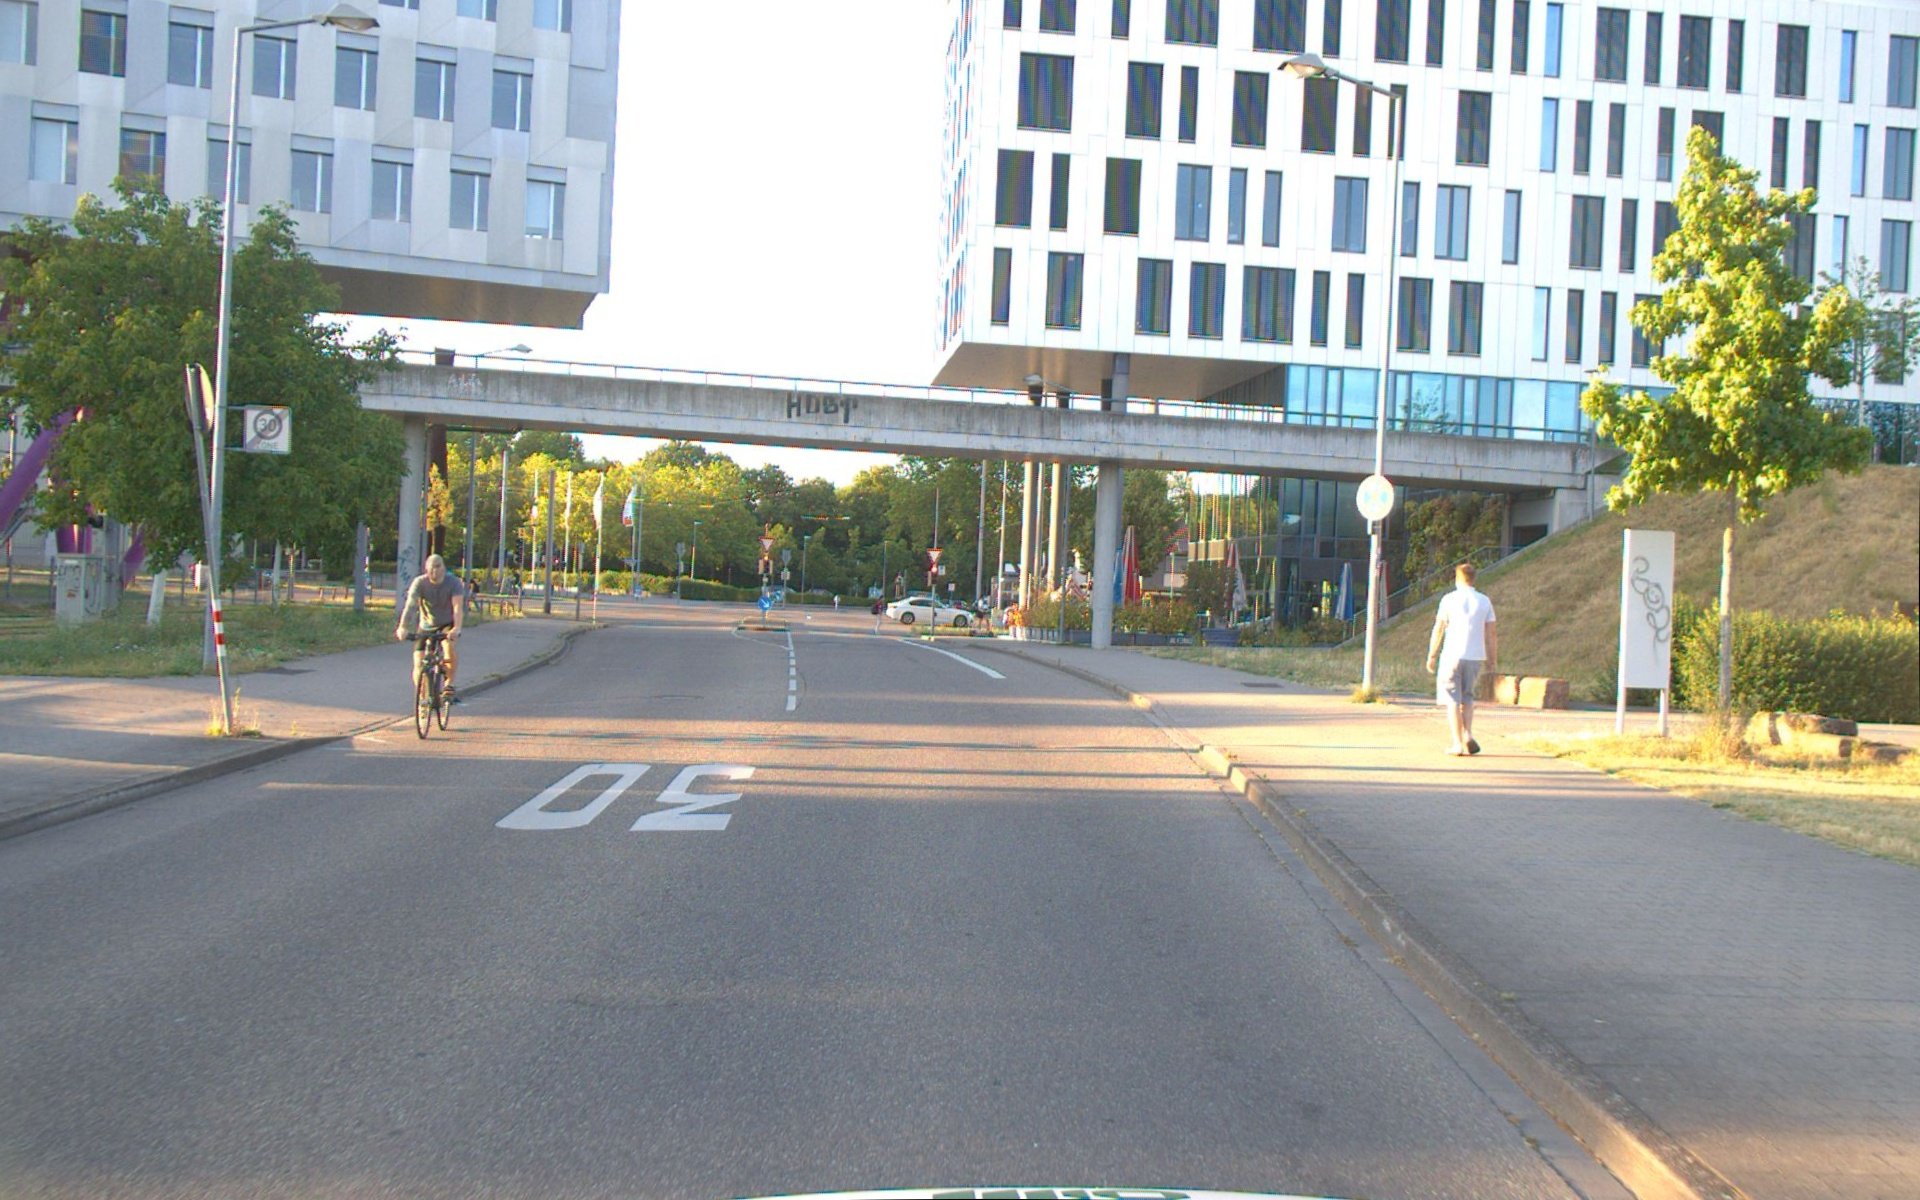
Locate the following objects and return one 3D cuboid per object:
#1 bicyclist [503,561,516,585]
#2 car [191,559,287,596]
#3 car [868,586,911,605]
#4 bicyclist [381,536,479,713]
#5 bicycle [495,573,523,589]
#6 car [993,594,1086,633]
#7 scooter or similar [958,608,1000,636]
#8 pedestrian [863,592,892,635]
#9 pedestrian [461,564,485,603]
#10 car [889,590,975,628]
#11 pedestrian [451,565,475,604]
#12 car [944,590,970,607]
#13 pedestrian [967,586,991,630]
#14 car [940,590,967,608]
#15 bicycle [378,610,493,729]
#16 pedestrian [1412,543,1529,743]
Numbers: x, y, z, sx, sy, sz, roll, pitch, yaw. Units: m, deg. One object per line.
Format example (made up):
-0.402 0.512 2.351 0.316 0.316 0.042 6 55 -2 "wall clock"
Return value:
-33.643 -1.998 123.528 0.749 1.753 0.547 2 1 -31 "bicyclist"
-39.666 -1.250 91.024 4.382 1.848 1.942 2 1 -7 "car"
-7.778 -0.540 183.733 4.588 1.901 2.013 3 1 1 "car"
-5.309 0.227 16.609 0.602 1.691 1.036 2 1 -1 "bicyclist"
-33.663 -1.428 123.526 1.942 1.148 0.554 2 1 -31 "bicycle"
4.266 0.738 89.481 4.635 1.860 1.886 2 1 -15 "car"
0.883 1.038 77.533 1.828 1.194 0.761 2 1 -14 "scooter or similar"
-3.696 0.612 73.888 1.037 1.865 0.891 2 1 -19 "pedestrian"
-21.296 -0.715 72.335 0.685 1.693 0.712 3 1 12 "pedestrian"
-1.587 0.479 91.393 4.595 1.860 1.833 2 1 -5 "car"
-21.479 -0.678 71.524 0.671 1.652 0.712 3 1 12 "pedestrian"
-0.272 -0.163 164.979 1.466 1.634 3.403 3 1 21 "car"
0.895 0.374 77.507 0.893 2.025 0.769 2 1 -14 "pedestrian"
-0.645 -0.093 161.197 1.466 1.634 3.403 3 1 21 "car"
-5.281 0.670 16.746 0.527 1.061 1.925 2 1 -1 "bicycle"
4.799 0.405 15.601 0.814 1.797 0.818 2 -2 2 "pedestrian"
